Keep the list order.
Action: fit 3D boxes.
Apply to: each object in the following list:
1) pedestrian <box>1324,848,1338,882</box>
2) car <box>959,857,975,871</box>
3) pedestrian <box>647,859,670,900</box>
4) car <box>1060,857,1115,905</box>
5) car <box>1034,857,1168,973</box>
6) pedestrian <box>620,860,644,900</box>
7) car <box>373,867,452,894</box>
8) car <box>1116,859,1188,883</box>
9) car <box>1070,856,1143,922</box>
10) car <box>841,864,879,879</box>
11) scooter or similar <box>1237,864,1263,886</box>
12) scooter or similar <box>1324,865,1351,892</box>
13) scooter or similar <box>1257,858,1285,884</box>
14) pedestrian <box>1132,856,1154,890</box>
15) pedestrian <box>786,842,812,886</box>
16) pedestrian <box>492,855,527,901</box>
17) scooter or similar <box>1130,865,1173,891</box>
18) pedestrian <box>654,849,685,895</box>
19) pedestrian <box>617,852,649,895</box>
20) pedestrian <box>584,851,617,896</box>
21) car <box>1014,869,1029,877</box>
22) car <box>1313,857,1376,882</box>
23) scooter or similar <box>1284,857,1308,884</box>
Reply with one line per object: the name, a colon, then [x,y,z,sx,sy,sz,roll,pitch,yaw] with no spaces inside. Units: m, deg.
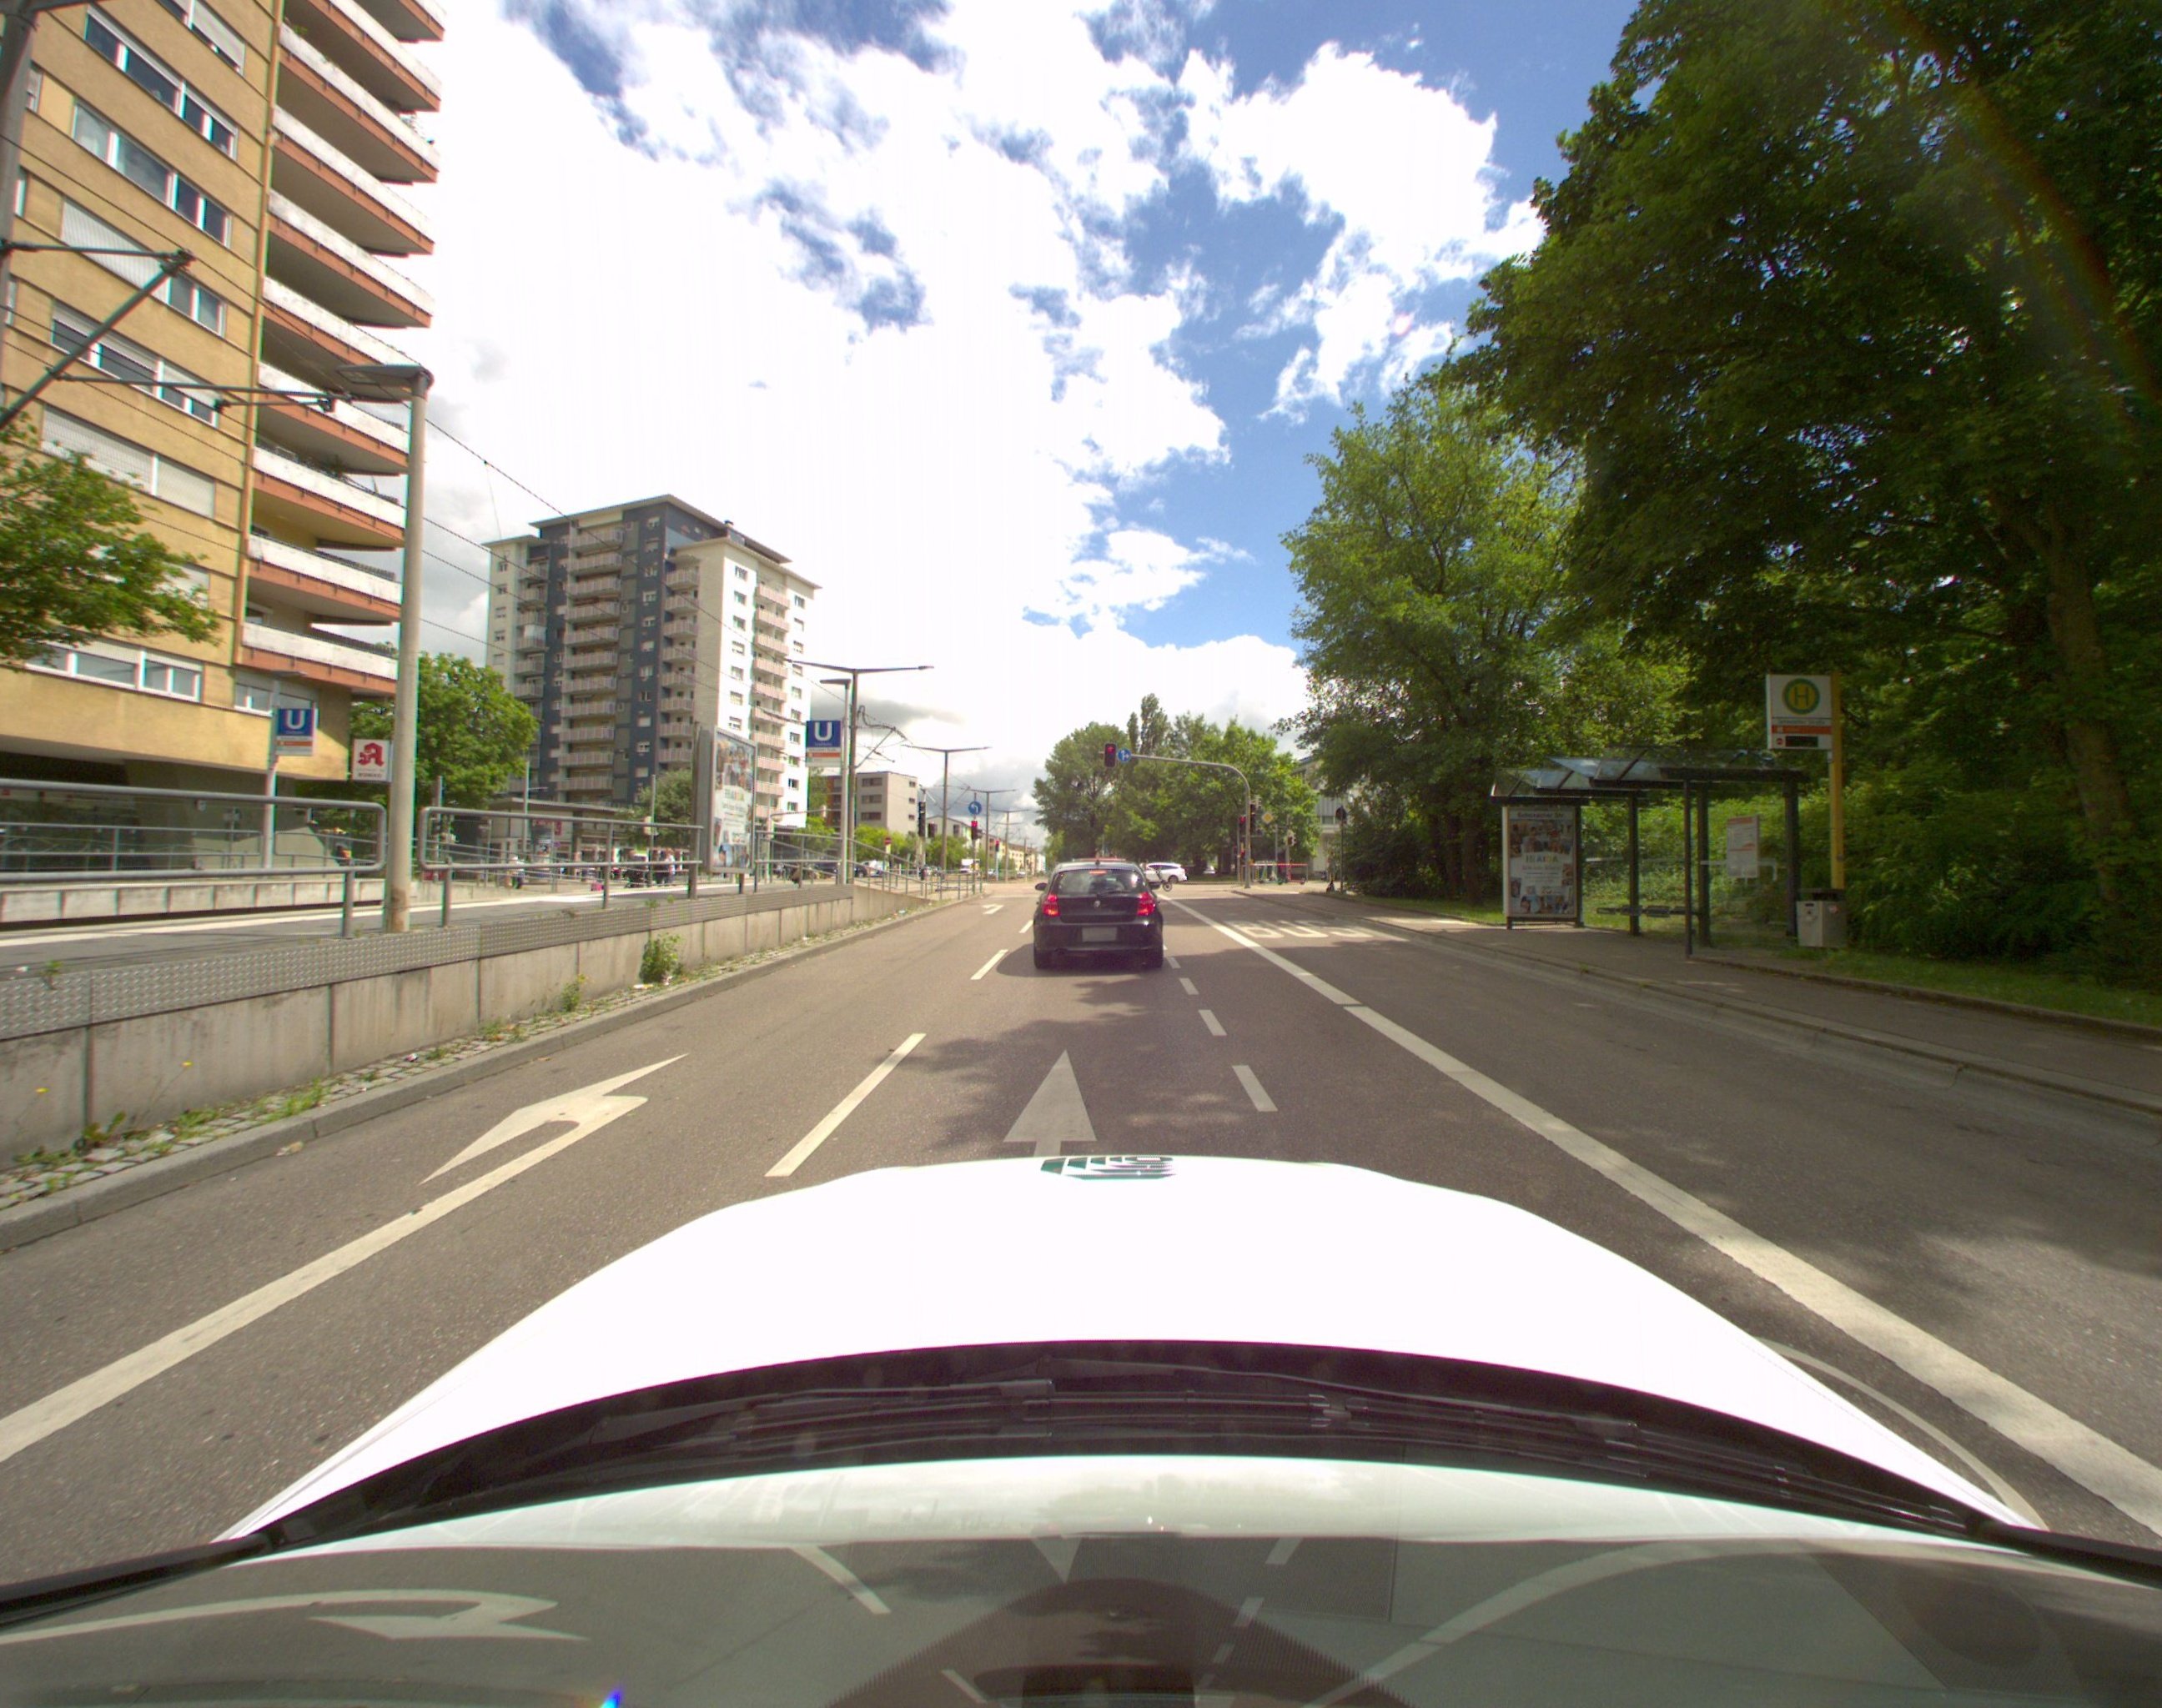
pedestrian: [13.324,0.602,43.452,0.608,1.790,0.571,3,0,20]
car: [-21.227,1.866,152.274,2.132,2.640,5.358,0,0,0]
pedestrian: [-14.341,0.853,27.643,0.691,1.343,0.852,0,0,-29]
car: [0.211,0.827,26.547,1.649,1.419,3.516,-1,0,0]
car: [0.350,0.766,11.843,1.647,1.419,3.520,-1,0,3]
pedestrian: [-15.269,0.863,27.682,0.660,1.343,0.558,-1,-1,44]
car: [-44.061,1.721,53.738,3.674,1.680,1.742,-1,0,-3]
car: [4.812,1.115,55.364,4.571,1.526,1.939,-1,0,-9]
car: [0.637,0.780,19.724,1.588,1.419,3.519,-1,0,2]
car: [-22.971,1.812,84.821,3.600,1.462,1.612,-1,0,-7]
scooter or similar: [7.818,0.972,37.650,1.121,0.957,0.299,-1,0,-14]
scooter or similar: [10.797,1.026,34.312,1.153,1.099,0.329,0,-1,-22]
scooter or similar: [9.025,0.811,38.703,1.290,1.189,0.383,-1,0,-14]
pedestrian: [2.698,0.822,35.576,0.860,1.442,0.800,-1,0,9]
pedestrian: [-10.814,0.382,31.251,0.698,1.632,0.638,-1,0,2]
pedestrian: [-21.202,0.886,30.221,0.851,1.696,0.692,0,-1,14]
scooter or similar: [3.012,1.023,34.969,1.776,1.051,0.410,-1,0,-4]
pedestrian: [-15.340,0.655,30.347,0.673,1.706,0.832,-1,-1,42]
pedestrian: [-16.494,0.718,30.000,0.857,1.578,0.622,0,-1,-7]
pedestrian: [-16.963,0.681,28.752,0.603,1.583,0.778,0,-1,17]
car: [-13.175,4.221,179.886,1.952,1.596,4.016,0,0,15]
car: [17.414,0.991,53.842,3.578,1.601,1.705,0,-1,-11]
scooter or similar: [10.441,0.798,39.540,1.107,1.258,0.331,-1,-1,-11]
